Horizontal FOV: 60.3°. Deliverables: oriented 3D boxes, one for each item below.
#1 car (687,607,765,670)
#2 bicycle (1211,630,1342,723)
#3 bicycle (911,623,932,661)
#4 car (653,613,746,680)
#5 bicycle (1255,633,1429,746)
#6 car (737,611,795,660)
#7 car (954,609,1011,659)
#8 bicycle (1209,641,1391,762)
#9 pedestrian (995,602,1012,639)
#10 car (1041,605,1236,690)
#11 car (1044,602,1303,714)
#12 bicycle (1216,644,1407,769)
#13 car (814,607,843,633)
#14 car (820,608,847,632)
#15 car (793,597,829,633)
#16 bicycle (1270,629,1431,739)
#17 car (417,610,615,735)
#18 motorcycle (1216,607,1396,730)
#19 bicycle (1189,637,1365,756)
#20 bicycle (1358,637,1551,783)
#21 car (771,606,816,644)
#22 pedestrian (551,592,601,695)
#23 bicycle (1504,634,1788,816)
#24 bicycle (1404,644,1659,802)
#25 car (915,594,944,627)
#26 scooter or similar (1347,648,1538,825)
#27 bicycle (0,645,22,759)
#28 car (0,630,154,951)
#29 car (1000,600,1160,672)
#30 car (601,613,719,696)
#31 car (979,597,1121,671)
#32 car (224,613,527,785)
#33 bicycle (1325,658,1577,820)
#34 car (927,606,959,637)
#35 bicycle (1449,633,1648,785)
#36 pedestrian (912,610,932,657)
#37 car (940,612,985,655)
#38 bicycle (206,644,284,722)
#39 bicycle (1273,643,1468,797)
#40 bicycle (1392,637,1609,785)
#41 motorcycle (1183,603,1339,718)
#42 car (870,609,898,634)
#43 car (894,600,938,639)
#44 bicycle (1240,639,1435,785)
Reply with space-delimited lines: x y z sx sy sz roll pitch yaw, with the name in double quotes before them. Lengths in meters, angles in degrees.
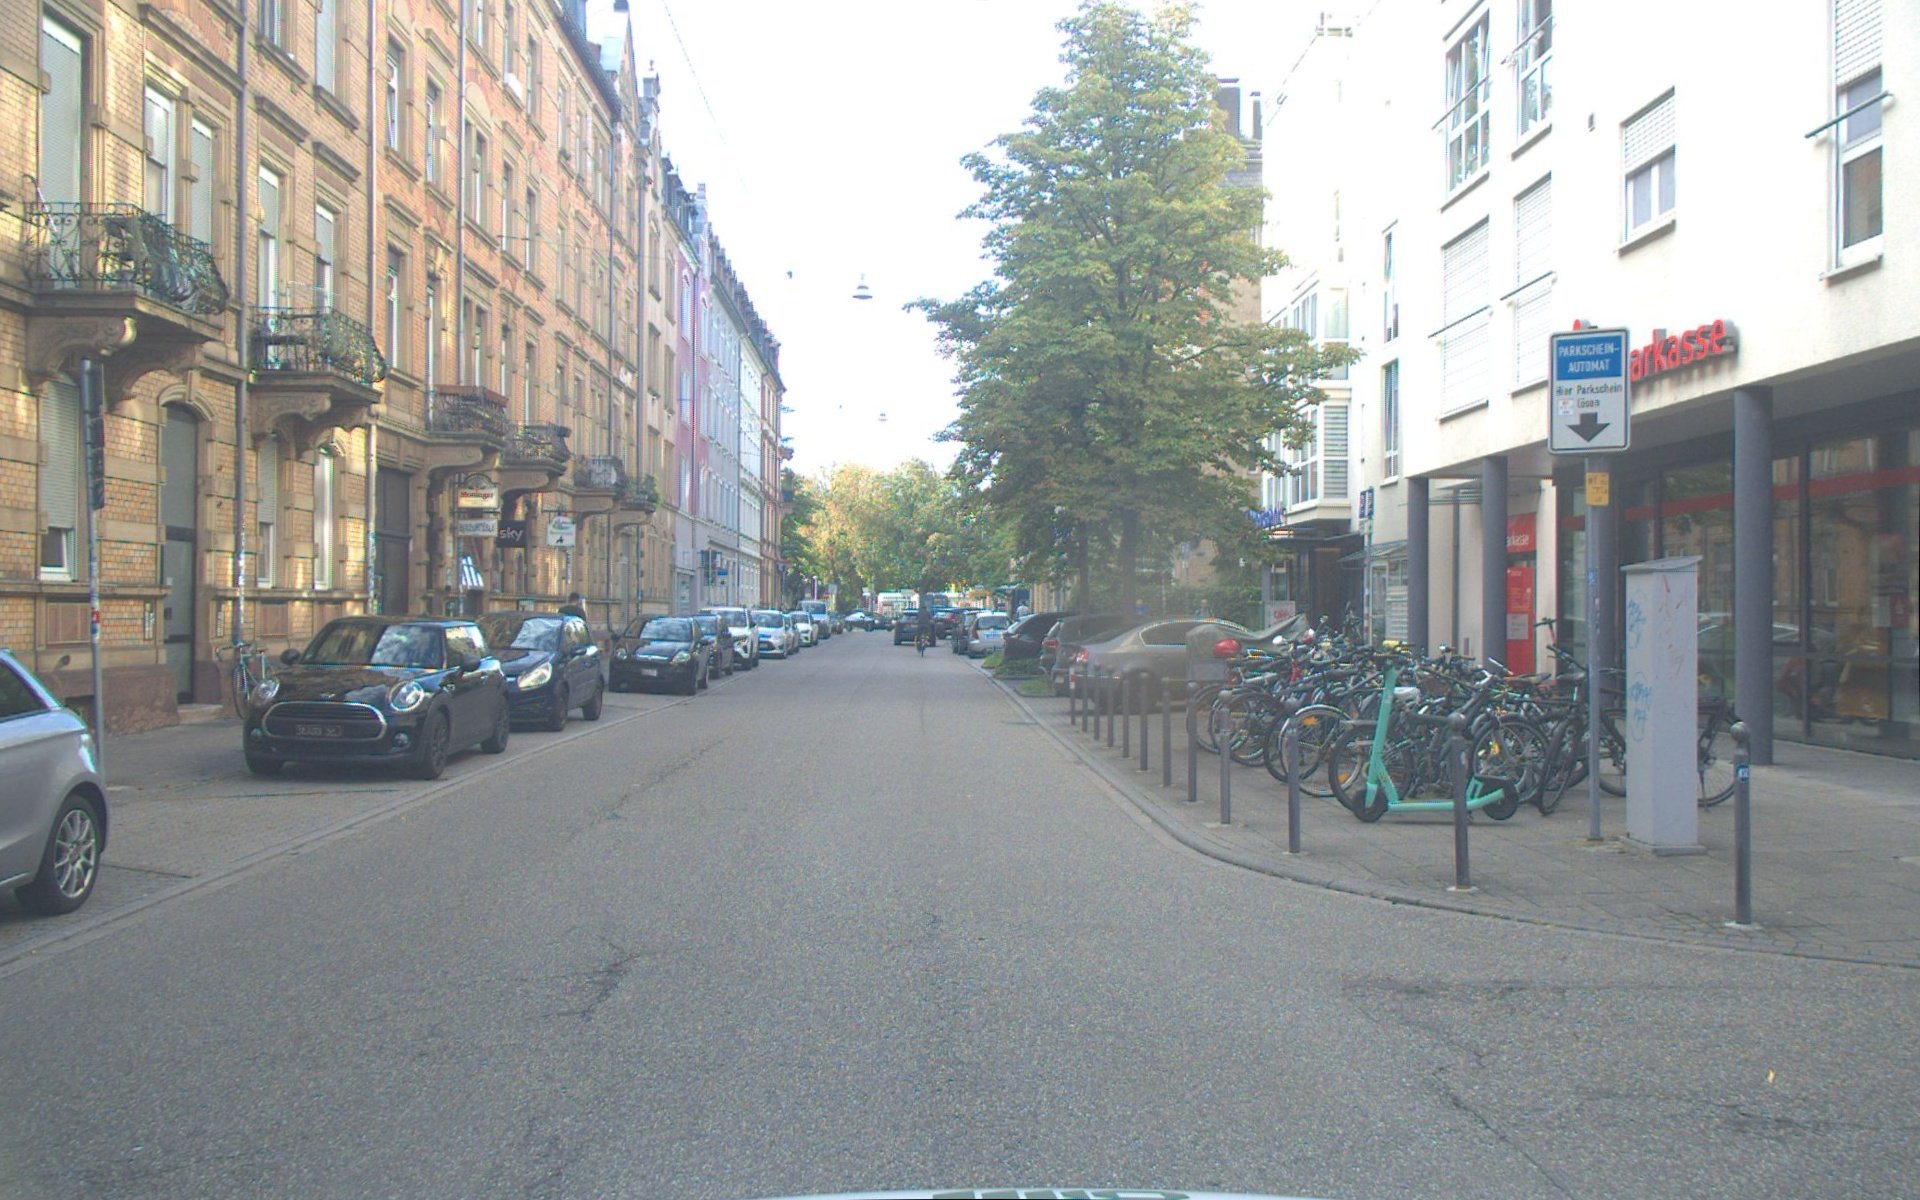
"car" -6.278 1.008 44.688 1.656 1.577 3.865 2 0 -2
"bicycle" 4.275 1.027 22.417 1.630 1.179 0.557 -2 0 0
"bicycle" -1.385 1.518 60.030 0.703 1.296 1.883 1 0 -1
"car" -6.177 1.081 39.584 1.656 1.393 3.865 4 0 -2
"bicycle" 4.187 0.984 18.164 1.758 1.179 0.500 -2 0 24
"car" -6.603 1.199 56.551 1.656 1.577 3.865 2 -1 -2
"car" 0.772 1.182 59.336 1.891 1.667 3.999 1 0 -2
"bicycle" 3.438 1.028 16.797 1.729 1.138 0.411 -2 0 1
"pedestrian" 2.666 1.247 102.143 0.975 2.269 0.898 1 0 -1
"car" 3.697 0.966 34.739 3.903 1.611 2.001 -2 0 3
"car" 3.350 0.902 26.257 3.694 1.573 1.725 -2 -1 -12
"bicycle" 3.401 1.026 16.051 1.729 1.118 0.411 -2 0 1
"car" -8.229 1.256 103.585 1.656 1.577 3.865 2 -1 -2
"car" -8.776 1.395 114.877 1.555 1.566 3.752 1 0 0
"car" -7.932 0.814 88.345 1.656 1.853 3.865 2 -1 -2
"bicycle" 4.495 0.959 19.082 1.697 1.179 0.500 -2 0 0
"car" -5.761 0.888 21.896 1.656 1.462 3.865 1 0 -2
"motorcycle" 4.384 0.860 21.061 2.105 1.460 0.765 -2 0 2
"bicycle" 3.380 1.028 17.729 1.757 1.179 0.500 -2 0 1
"bicycle" 4.390 0.948 14.655 1.741 1.166 0.408 -2 0 -22
"car" -7.228 1.084 71.997 1.656 1.577 3.865 2 -1 -2
"pedestrian" -7.179 0.807 30.919 0.675 1.886 0.931 1 0 0
"bicycle" 4.866 0.874 11.800 1.729 1.182 0.650 -2 0 0
"bicycle" 4.408 0.940 12.830 1.729 1.106 0.650 -2 0 0
"car" -1.994 0.643 107.352 1.746 2.055 3.885 1 0 -3
"scooter or similar" 3.362 0.938 11.538 1.183 1.167 0.378 -2 1 30
"bicycle" -8.972 0.932 14.784 0.427 1.032 1.295 3 -1 -3
"car" -5.137 0.861 6.973 1.656 1.411 3.865 1 0 -2
"car" 3.033 0.890 42.048 3.903 1.669 2.001 -2 0 3
"car" -5.839 1.021 32.550 1.656 1.393 3.865 4 0 -2
"car" 2.558 0.947 47.079 3.904 1.712 1.739 -2 8 2
"car" -5.492 0.861 16.054 1.656 1.411 3.865 1 0 -2
"bicycle" 3.602 1.005 12.159 1.732 1.075 0.411 -2 0 -7
"car" -0.924 1.139 88.372 1.556 1.566 3.750 1 0 -3
"bicycle" 4.840 0.890 13.629 1.465 1.166 0.411 -2 0 -2
"pedestrian" -1.377 1.208 60.042 0.703 1.679 0.930 1 0 -1
"car" 0.075 1.279 63.719 1.656 1.577 3.687 1 -1 -1
"bicycle" -9.054 1.039 20.986 0.427 0.913 1.295 3 -1 -3
"bicycle" 3.353 0.969 13.534 1.467 1.166 0.411 -2 0 -7
"bicycle" 4.624 0.936 14.161 1.732 1.166 0.411 -2 0 -8
"motorcycle" 4.356 0.870 24.043 2.105 1.557 0.686 -2 0 2
"car" -5.343 1.499 116.490 1.817 1.649 3.999 1 0 -1
"car" -2.033 0.906 75.908 1.925 1.771 4.039 0 -1 -2
"bicycle" 3.357 0.970 14.686 1.741 1.166 0.408 -2 0 -22
